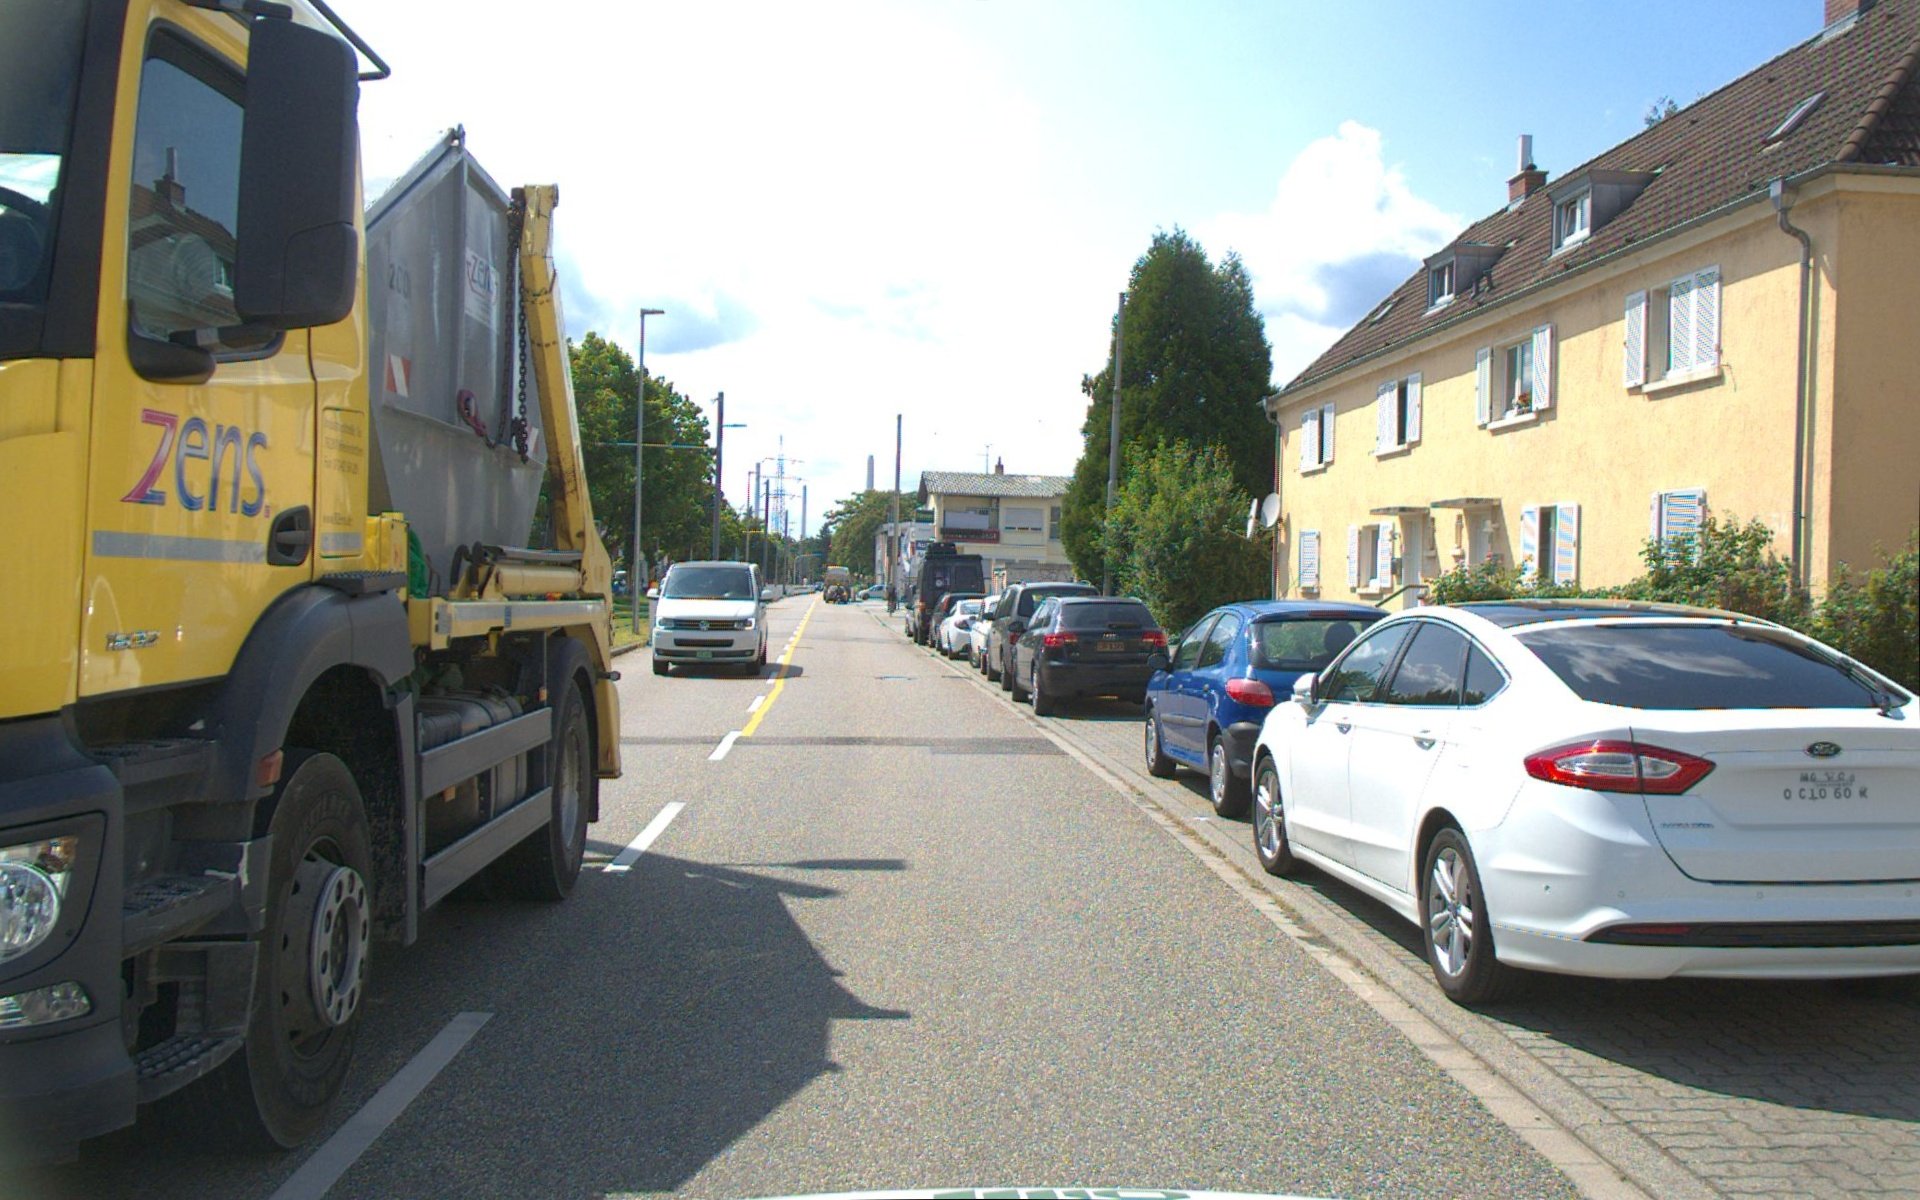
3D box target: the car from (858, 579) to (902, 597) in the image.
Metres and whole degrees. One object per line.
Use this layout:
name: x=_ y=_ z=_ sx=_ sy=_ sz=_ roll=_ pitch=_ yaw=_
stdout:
car: x=-8.659 y=-1.324 z=179.407 sx=4.556 sy=1.854 sz=1.832 roll=1 pitch=0 yaw=-10

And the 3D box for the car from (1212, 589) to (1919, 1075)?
car: x=2.581 y=0.714 z=7.558 sx=1.763 sy=1.483 sz=4.760 roll=-1 pitch=0 yaw=-5

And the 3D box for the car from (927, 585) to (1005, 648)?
car: x=0.110 y=0.398 z=43.041 sx=1.729 sy=1.528 sz=3.997 roll=-1 pitch=1 yaw=-4

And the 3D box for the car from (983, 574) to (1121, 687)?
car: x=1.409 y=0.433 z=26.780 sx=1.729 sy=1.672 sz=3.997 roll=-1 pitch=1 yaw=-4

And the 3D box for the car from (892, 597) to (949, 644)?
car: x=-1.405 y=0.684 z=57.449 sx=1.729 sy=1.528 sz=3.996 roll=-1 pitch=1 yaw=-5

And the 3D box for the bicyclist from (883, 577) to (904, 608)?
bicyclist: x=-3.482 y=-0.389 z=86.636 sx=0.976 sy=1.596 sz=1.138 roll=1 pitch=0 yaw=-7

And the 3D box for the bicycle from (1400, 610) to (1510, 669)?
bicycle: x=8.528 y=0.687 z=28.513 sx=1.825 sy=0.972 sz=0.366 roll=1 pitch=0 yaw=-9

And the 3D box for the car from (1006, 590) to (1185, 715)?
car: x=1.661 y=0.605 z=21.547 sx=1.729 sy=1.442 sz=3.997 roll=-1 pitch=1 yaw=-4

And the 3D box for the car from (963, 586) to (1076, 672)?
car: x=1.077 y=0.503 z=31.680 sx=1.729 sy=1.502 sz=3.997 roll=-1 pitch=1 yaw=-4

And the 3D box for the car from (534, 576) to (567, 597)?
car: x=-31.435 y=-1.051 z=127.142 sx=1.842 sy=1.580 sz=4.392 roll=1 pitch=0 yaw=-6

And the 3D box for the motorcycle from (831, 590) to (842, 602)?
motorcycle: x=-10.212 y=-0.363 z=136.784 sx=0.866 sy=0.940 sz=2.613 roll=1 pitch=1 yaw=-5

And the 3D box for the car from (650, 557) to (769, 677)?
car: x=-4.526 y=0.248 z=30.545 sx=1.891 sy=1.993 sz=5.369 roll=-1 pitch=1 yaw=-6

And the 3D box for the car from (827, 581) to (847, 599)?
car: x=-10.568 y=-0.869 z=141.692 sx=1.538 sy=1.524 sz=4.143 roll=1 pitch=1 yaw=-6

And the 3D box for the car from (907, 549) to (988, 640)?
car: x=-0.445 y=-0.193 z=49.108 sx=1.921 sy=2.522 sz=6.054 roll=-1 pitch=1 yaw=-5

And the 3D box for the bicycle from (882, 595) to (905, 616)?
bicycle: x=-3.485 y=0.282 z=86.584 sx=0.976 sy=1.067 sz=2.808 roll=1 pitch=1 yaw=-7

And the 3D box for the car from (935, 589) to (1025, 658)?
car: x=0.409 y=0.489 z=37.873 sx=1.729 sy=1.465 sz=3.997 roll=-1 pitch=1 yaw=-4

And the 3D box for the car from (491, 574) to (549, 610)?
car: x=-20.198 y=-0.342 z=76.082 sx=1.842 sy=1.580 sz=4.393 roll=1 pitch=0 yaw=-5

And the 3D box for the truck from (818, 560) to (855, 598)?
truck: x=-11.903 y=-1.975 z=158.770 sx=3.159 sy=3.461 sz=11.339 roll=1 pitch=0 yaw=-6

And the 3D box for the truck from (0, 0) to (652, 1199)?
truck: x=-2.980 y=-0.352 z=6.454 sx=2.508 sy=3.520 sz=7.146 roll=-1 pitch=1 yaw=-3

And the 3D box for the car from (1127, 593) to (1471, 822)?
car: x=2.422 y=0.692 z=12.795 sx=1.589 sy=1.442 sz=3.997 roll=-1 pitch=1 yaw=-4

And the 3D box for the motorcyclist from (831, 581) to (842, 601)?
motorcyclist: x=-10.183 y=-0.747 z=136.520 sx=0.866 sy=1.696 sz=1.108 roll=1 pitch=0 yaw=-5
